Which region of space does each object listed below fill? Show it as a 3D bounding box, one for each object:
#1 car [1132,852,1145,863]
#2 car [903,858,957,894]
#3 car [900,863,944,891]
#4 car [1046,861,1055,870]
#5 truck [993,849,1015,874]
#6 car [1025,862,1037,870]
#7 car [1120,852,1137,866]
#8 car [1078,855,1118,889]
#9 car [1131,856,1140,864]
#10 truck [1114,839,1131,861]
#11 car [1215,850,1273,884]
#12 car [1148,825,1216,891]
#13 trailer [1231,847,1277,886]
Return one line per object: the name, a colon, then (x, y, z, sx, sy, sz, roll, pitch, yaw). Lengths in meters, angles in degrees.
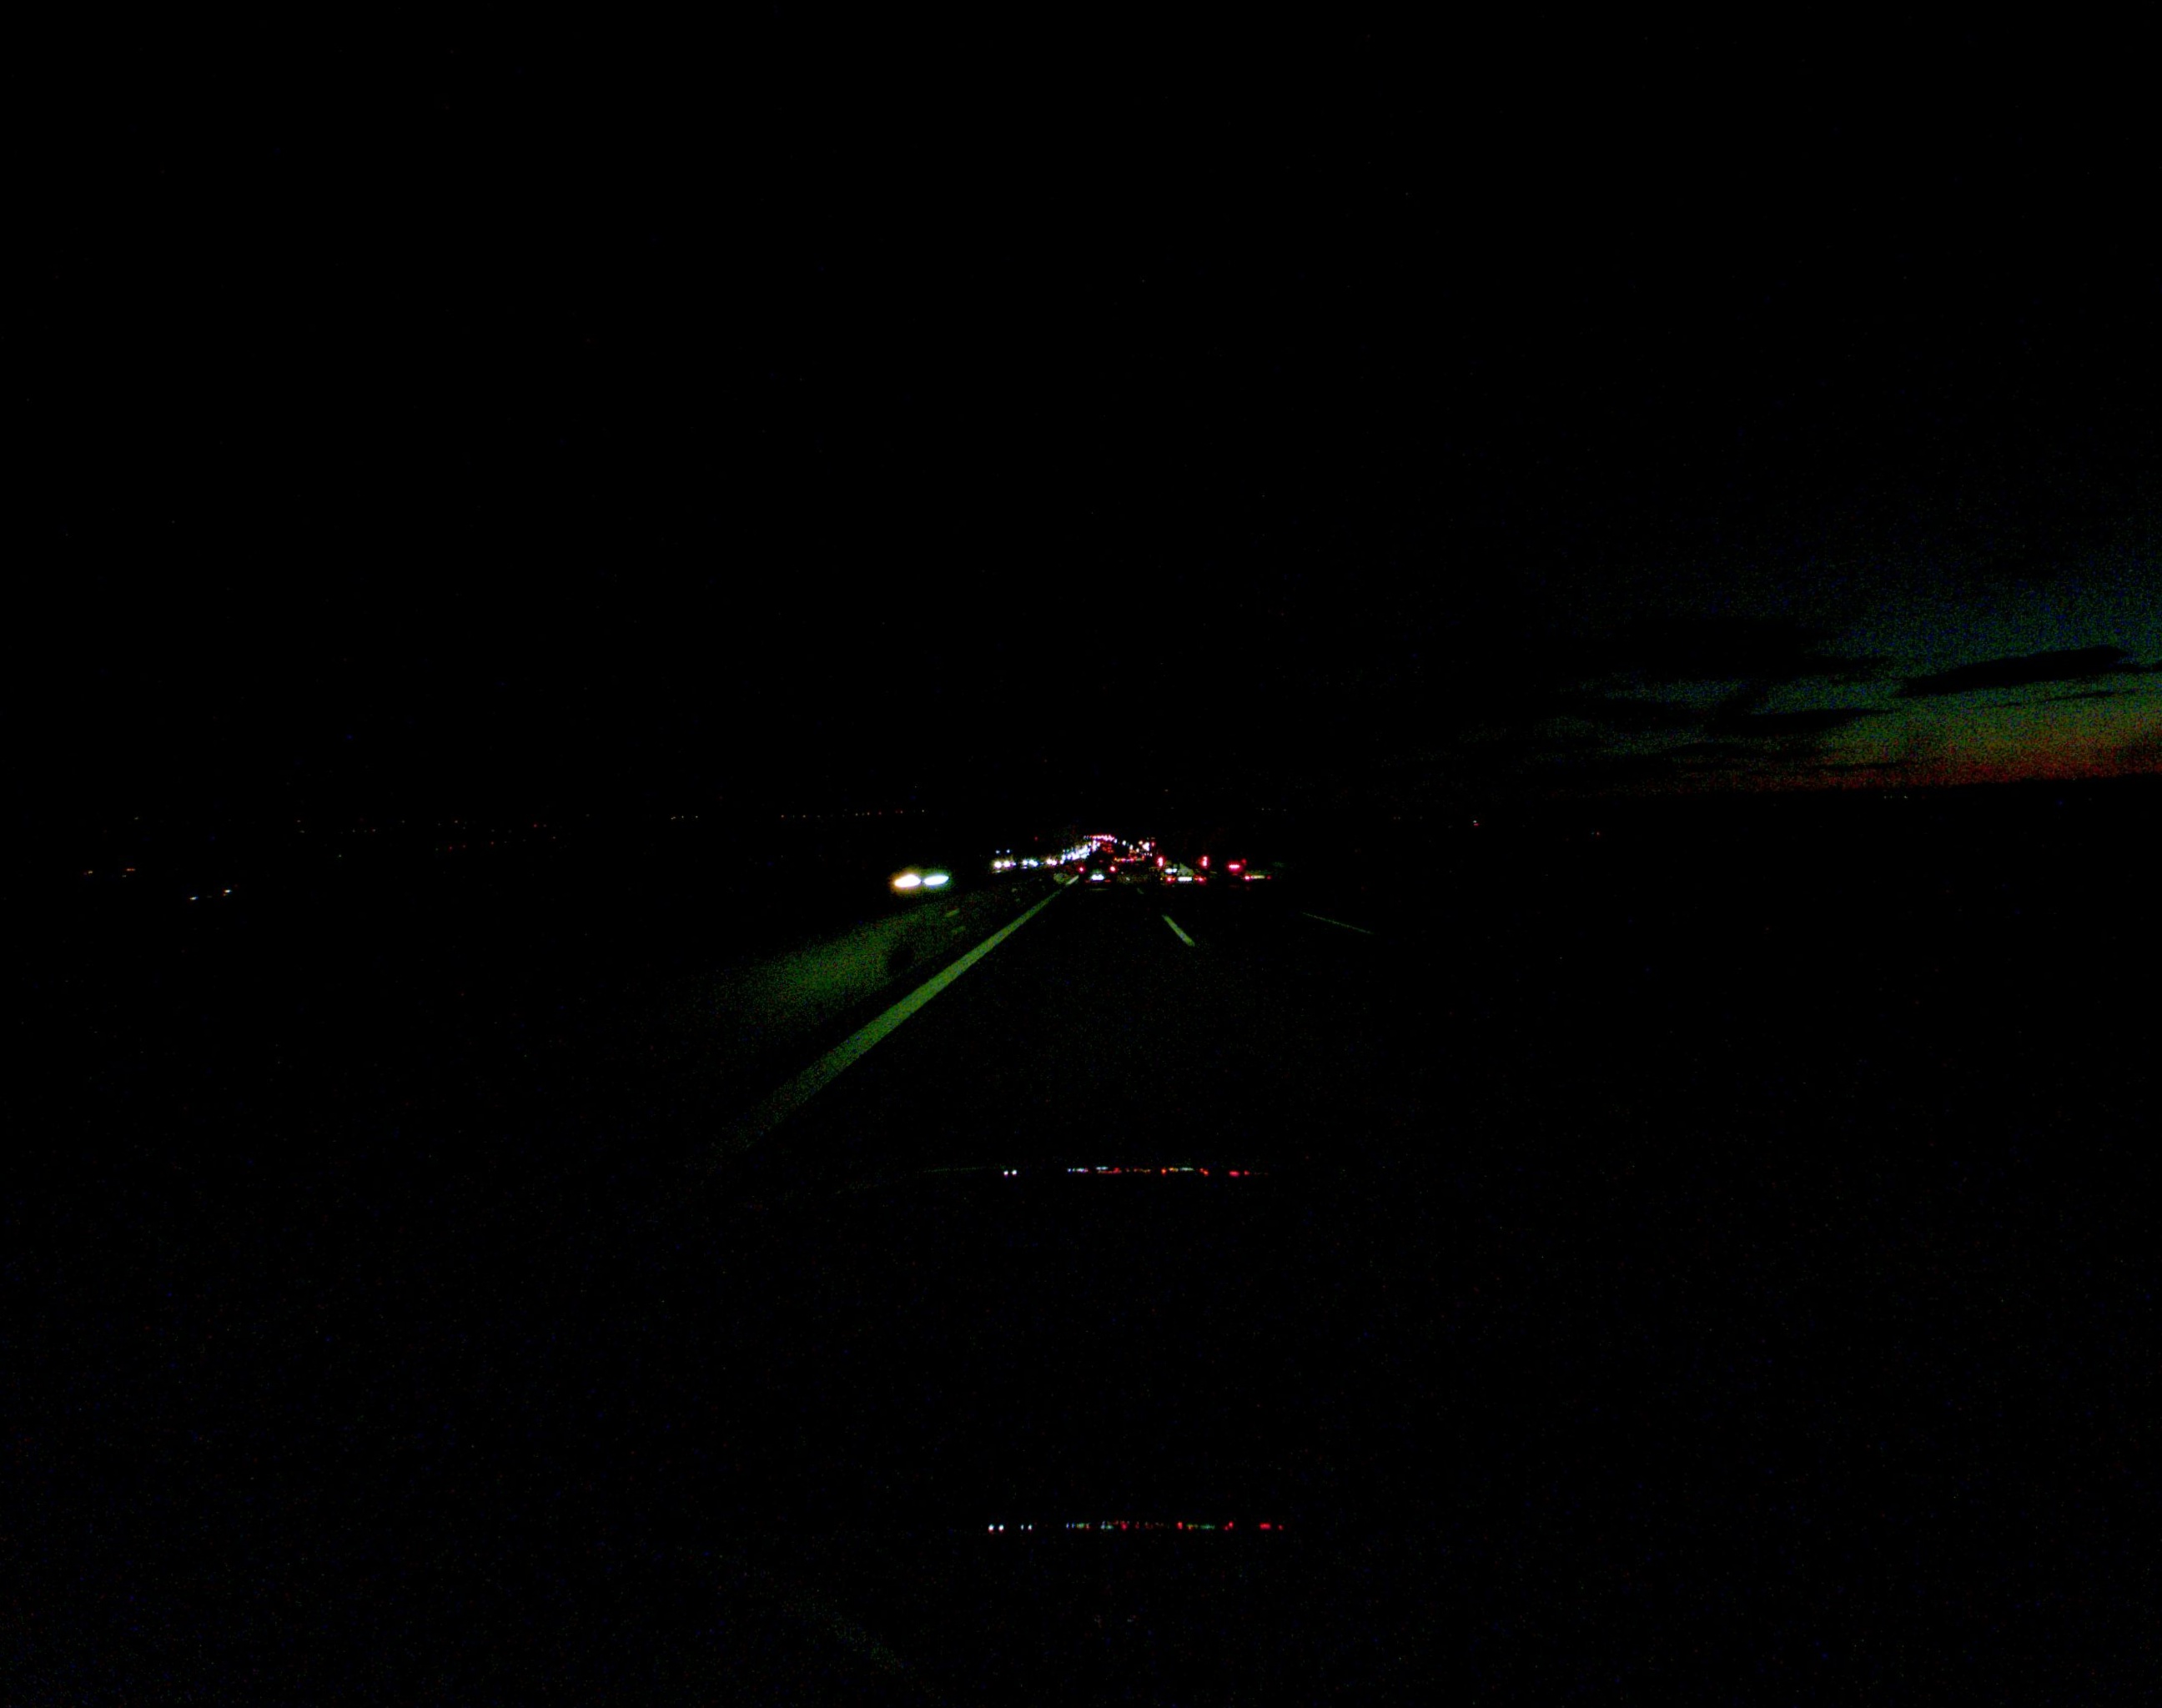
car: (11.221, 0.668, 160.257, 2.342, 2.076, 4.725, -2, 0, 2)
car: (-7.672, 1.070, 41.755, 1.805, 1.643, 4.159, -2, 0, 2)
car: (-10.223, 1.447, 52.757, 1.805, 1.643, 4.159, -2, 0, 2)
car: (-6.745, 2.563, 179.611, 1.767, 1.968, 4.001, -2, 0, 2)
truck: (-12.573, 1.180, 133.677, 2.772, 3.955, 7.993, -2, 0, 0)
car: (-10.606, 2.452, 172.941, 1.986, 1.632, 4.001, -1, 0, 2)
car: (6.711, 0.689, 115.905, 2.342, 1.914, 4.725, -2, 0, 2)
car: (0.849, 0.823, 38.959, 1.787, 1.469, 3.775, -1, 0, 2)
car: (13.279, 1.471, 199.641, 1.986, 1.948, 4.001, -1, 0, 2)
truck: (7.852, -0.705, 156.257, 2.772, 3.955, 7.993, -2, 0, 0)
car: (8.251, 0.627, 41.560, 2.154, 1.563, 4.725, -2, 0, 2)
car: (4.247, 0.149, 35.300, 2.342, 2.535, 5.704, -2, 0, 2)
trailer: (7.994, 0.553, 37.859, 1.560, 1.693, 2.822, -2, 0, 2)
